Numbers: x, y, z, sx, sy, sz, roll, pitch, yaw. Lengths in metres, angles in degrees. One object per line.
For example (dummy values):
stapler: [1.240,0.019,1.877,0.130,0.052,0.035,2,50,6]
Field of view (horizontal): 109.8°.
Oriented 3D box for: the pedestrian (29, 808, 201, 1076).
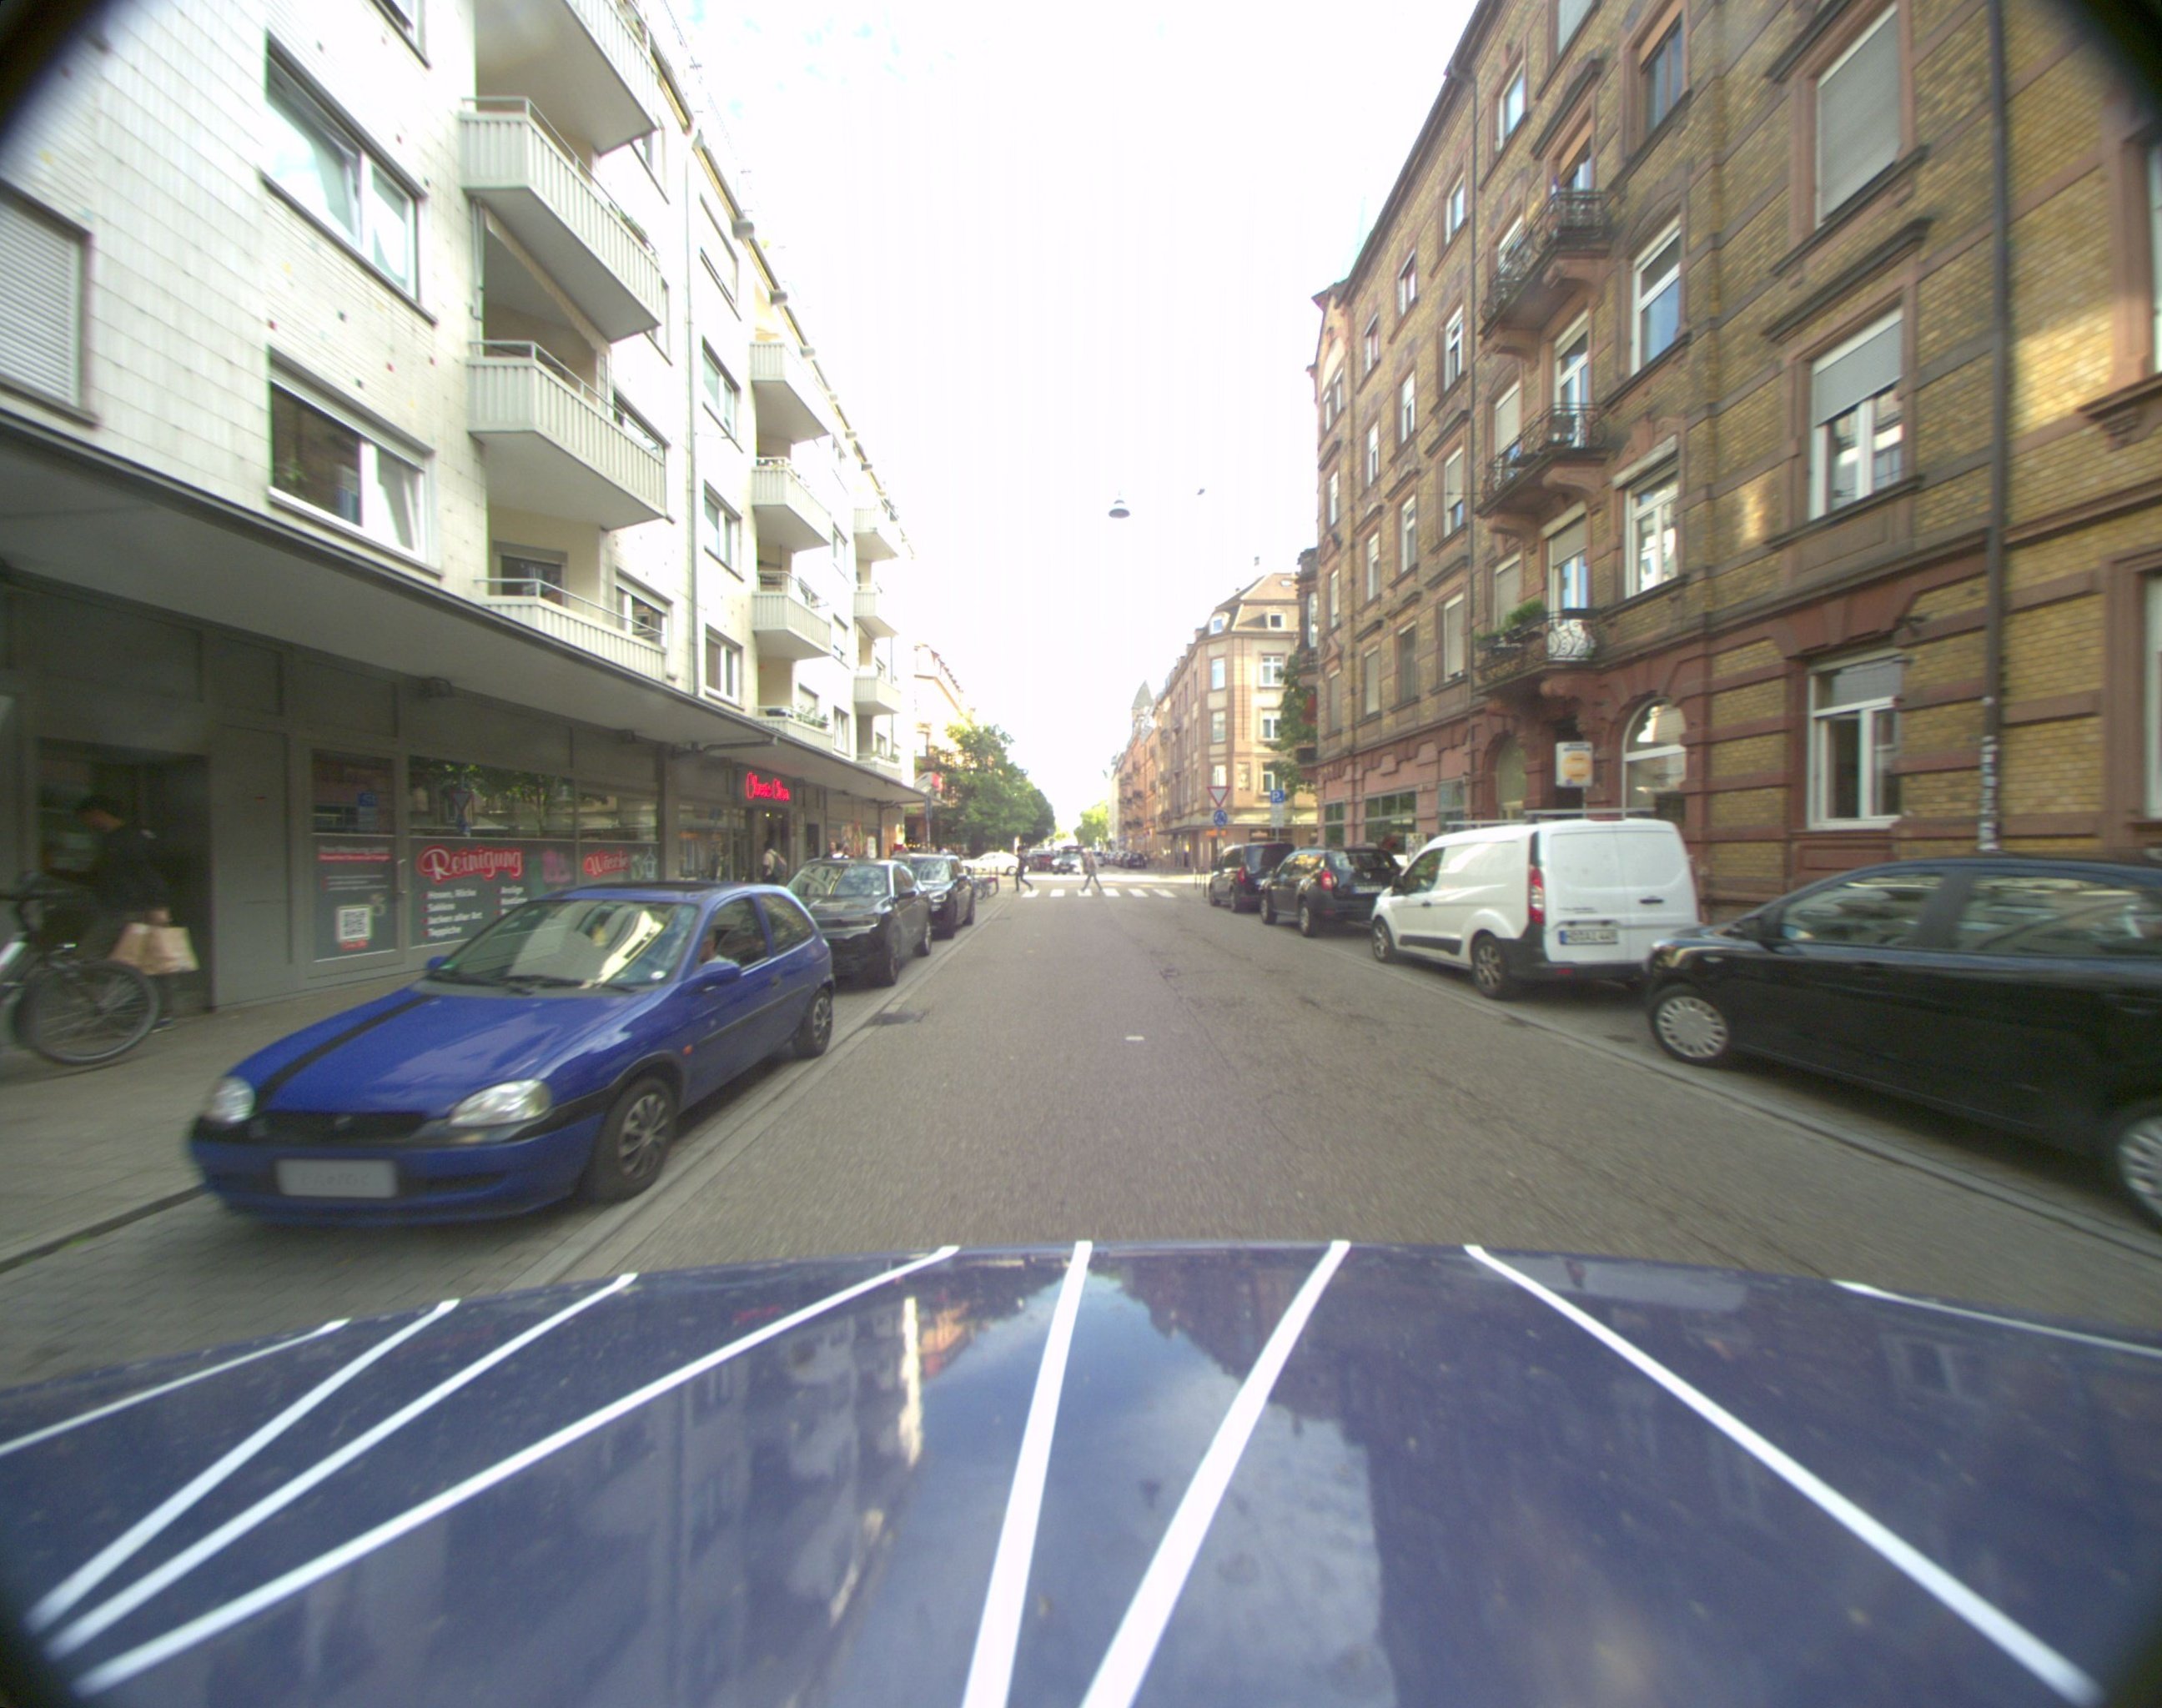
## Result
pedestrian: [-7.209,0.606,5.680,0.708,1.849,0.646,0,1,28]

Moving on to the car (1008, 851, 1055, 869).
car: [-4.124,0.476,63.497,3.593,1.372,1.510,2,0,-26]

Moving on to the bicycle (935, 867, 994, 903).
bicycle: [-3.680,0.976,24.057,1.794,1.064,0.568,2,0,-11]

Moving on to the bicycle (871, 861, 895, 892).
bicycle: [-7.287,0.817,27.896,0.679,1.037,1.730,0,2,-20]

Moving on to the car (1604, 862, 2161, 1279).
car: [5.004,0.853,4.008,1.746,1.475,3.982,-2,1,0]

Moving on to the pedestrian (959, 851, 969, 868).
pedestrian: [-9.063,0.418,58.978,0.729,1.307,0.520,-2,1,-13]

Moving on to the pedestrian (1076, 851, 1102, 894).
pedestrian: [0.301,0.682,28.205,0.810,1.569,0.614,0,0,-18]

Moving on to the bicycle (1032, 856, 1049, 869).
bicycle: [-3.246,0.695,61.126,0.473,0.979,1.860,1,1,-32]

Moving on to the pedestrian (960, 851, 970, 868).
pedestrian: [-8.938,0.416,58.477,0.729,1.307,0.520,-2,1,-13]

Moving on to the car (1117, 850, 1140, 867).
car: [4.630,0.416,74.620,1.861,1.575,4.397,-2,1,0]

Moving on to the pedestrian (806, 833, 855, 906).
pedestrian: [-6.267,0.378,19.064,0.851,1.736,1.048,2,0,-3]

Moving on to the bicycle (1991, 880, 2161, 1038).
bicycle: [8.515,0.825,5.857,0.569,1.144,2.000,-2,1,-1]

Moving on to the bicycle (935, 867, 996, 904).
bicycle: [-3.553,0.969,23.401,1.794,1.064,0.586,2,0,-11]

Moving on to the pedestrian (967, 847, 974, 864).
pedestrian: [-9.019,0.127,61.932,0.467,1.320,0.620,0,2,-25]

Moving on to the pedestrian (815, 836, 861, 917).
pedestrian: [-5.335,0.479,16.747,0.613,1.716,1.126,-2,1,-1]

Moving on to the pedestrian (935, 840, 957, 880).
pedestrian: [-6.240,0.280,35.136,0.712,1.786,0.634,2,0,32]

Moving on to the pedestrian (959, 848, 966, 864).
pedestrian: [-9.704,0.145,62.219,0.467,1.320,0.620,0,2,-25]

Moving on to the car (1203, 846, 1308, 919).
car: [4.690,0.683,21.083,1.764,1.763,4.404,-2,1,-1]

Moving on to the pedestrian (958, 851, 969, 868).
pedestrian: [-9.219,0.421,59.602,0.729,1.307,0.607,-2,1,-13]

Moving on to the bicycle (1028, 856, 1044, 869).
bicycle: [-3.592,0.705,60.715,0.419,0.979,1.834,1,1,-32]

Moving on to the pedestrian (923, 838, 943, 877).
pedestrian: [-6.974,0.154,35.796,0.654,1.786,0.659,3,0,12]

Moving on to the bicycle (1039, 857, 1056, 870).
bicycle: [-2.712,0.727,61.248,0.473,0.979,1.860,1,1,-32]

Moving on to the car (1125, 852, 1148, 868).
car: [5.039,0.547,69.523,1.723,1.360,3.829,-2,0,0]

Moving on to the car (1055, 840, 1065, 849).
car: [-4.857,-2.079,172.382,1.998,1.877,4.000,-2,0,1]

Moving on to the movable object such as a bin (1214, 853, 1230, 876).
movable object such as a bin: [4.555,0.330,24.601,0.384,0.710,0.475,-2,1,-5]

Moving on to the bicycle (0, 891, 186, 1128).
bicycle: [-6.634,0.918,3.995,0.921,1.283,2.499,1,1,0]

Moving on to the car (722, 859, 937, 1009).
car: [-3.056,0.873,10.084,1.693,1.568,3.901,0,0,-2]

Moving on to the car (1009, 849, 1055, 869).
car: [-4.262,0.475,65.862,3.592,1.606,1.510,2,0,-24]

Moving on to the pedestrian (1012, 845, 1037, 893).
pedestrian: [-2.154,0.564,29.262,0.857,1.830,0.678,-1,2,3]

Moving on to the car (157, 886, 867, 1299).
car: [-2.790,1.020,4.983,1.599,1.431,4.030,0,0,0]

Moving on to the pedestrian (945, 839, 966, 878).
pedestrian: [-5.907,0.207,35.793,0.716,1.786,0.630,3,0,-36]

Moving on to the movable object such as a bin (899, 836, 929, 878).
movable object such as a bin: [-7.134,0.130,32.578,0.781,1.734,2.423,0,1,0]

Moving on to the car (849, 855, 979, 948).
car: [-3.171,0.830,15.214,1.797,1.596,3.923,0,0,-1]

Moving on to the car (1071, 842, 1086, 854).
car: [-0.381,-0.861,106.899,1.998,1.624,4.844,-1,0,1]

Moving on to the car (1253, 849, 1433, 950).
car: [4.878,0.744,14.824,1.999,1.628,4.144,-1,1,-1]

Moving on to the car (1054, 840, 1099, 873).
car: [-0.257,0.140,50.068,1.790,2.051,4.005,0,1,19]

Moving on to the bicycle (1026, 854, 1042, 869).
bicycle: [-3.731,0.614,60.276,0.476,1.136,1.834,1,1,-32]

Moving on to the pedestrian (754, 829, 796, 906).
pedestrian: [-7.071,0.307,17.544,0.818,1.736,0.714,2,1,-24]

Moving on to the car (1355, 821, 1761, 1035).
car: [4.991,0.641,8.878,1.925,1.860,4.436,-1,0,-1]

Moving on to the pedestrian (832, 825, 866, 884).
pedestrian: [-6.601,0.013,21.628,0.724,1.623,0.712,2,0,-3]

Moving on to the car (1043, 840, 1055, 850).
car: [-5.864,-1.612,136.817,1.850,1.724,3.998,-2,0,-6]

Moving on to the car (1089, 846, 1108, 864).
car: [1.901,0.113,83.325,1.834,1.780,4.330,-3,-1,-2]

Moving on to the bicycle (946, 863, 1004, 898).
bicycle: [-3.645,0.915,26.299,1.888,1.119,0.907,2,0,-3]

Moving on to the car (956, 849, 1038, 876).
car: [-5.339,0.511,48.067,4.840,1.588,1.942,-1,0,-17]

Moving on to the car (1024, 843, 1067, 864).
car: [-4.302,-0.011,92.254,4.747,2.409,1.995,-2,1,-33]
